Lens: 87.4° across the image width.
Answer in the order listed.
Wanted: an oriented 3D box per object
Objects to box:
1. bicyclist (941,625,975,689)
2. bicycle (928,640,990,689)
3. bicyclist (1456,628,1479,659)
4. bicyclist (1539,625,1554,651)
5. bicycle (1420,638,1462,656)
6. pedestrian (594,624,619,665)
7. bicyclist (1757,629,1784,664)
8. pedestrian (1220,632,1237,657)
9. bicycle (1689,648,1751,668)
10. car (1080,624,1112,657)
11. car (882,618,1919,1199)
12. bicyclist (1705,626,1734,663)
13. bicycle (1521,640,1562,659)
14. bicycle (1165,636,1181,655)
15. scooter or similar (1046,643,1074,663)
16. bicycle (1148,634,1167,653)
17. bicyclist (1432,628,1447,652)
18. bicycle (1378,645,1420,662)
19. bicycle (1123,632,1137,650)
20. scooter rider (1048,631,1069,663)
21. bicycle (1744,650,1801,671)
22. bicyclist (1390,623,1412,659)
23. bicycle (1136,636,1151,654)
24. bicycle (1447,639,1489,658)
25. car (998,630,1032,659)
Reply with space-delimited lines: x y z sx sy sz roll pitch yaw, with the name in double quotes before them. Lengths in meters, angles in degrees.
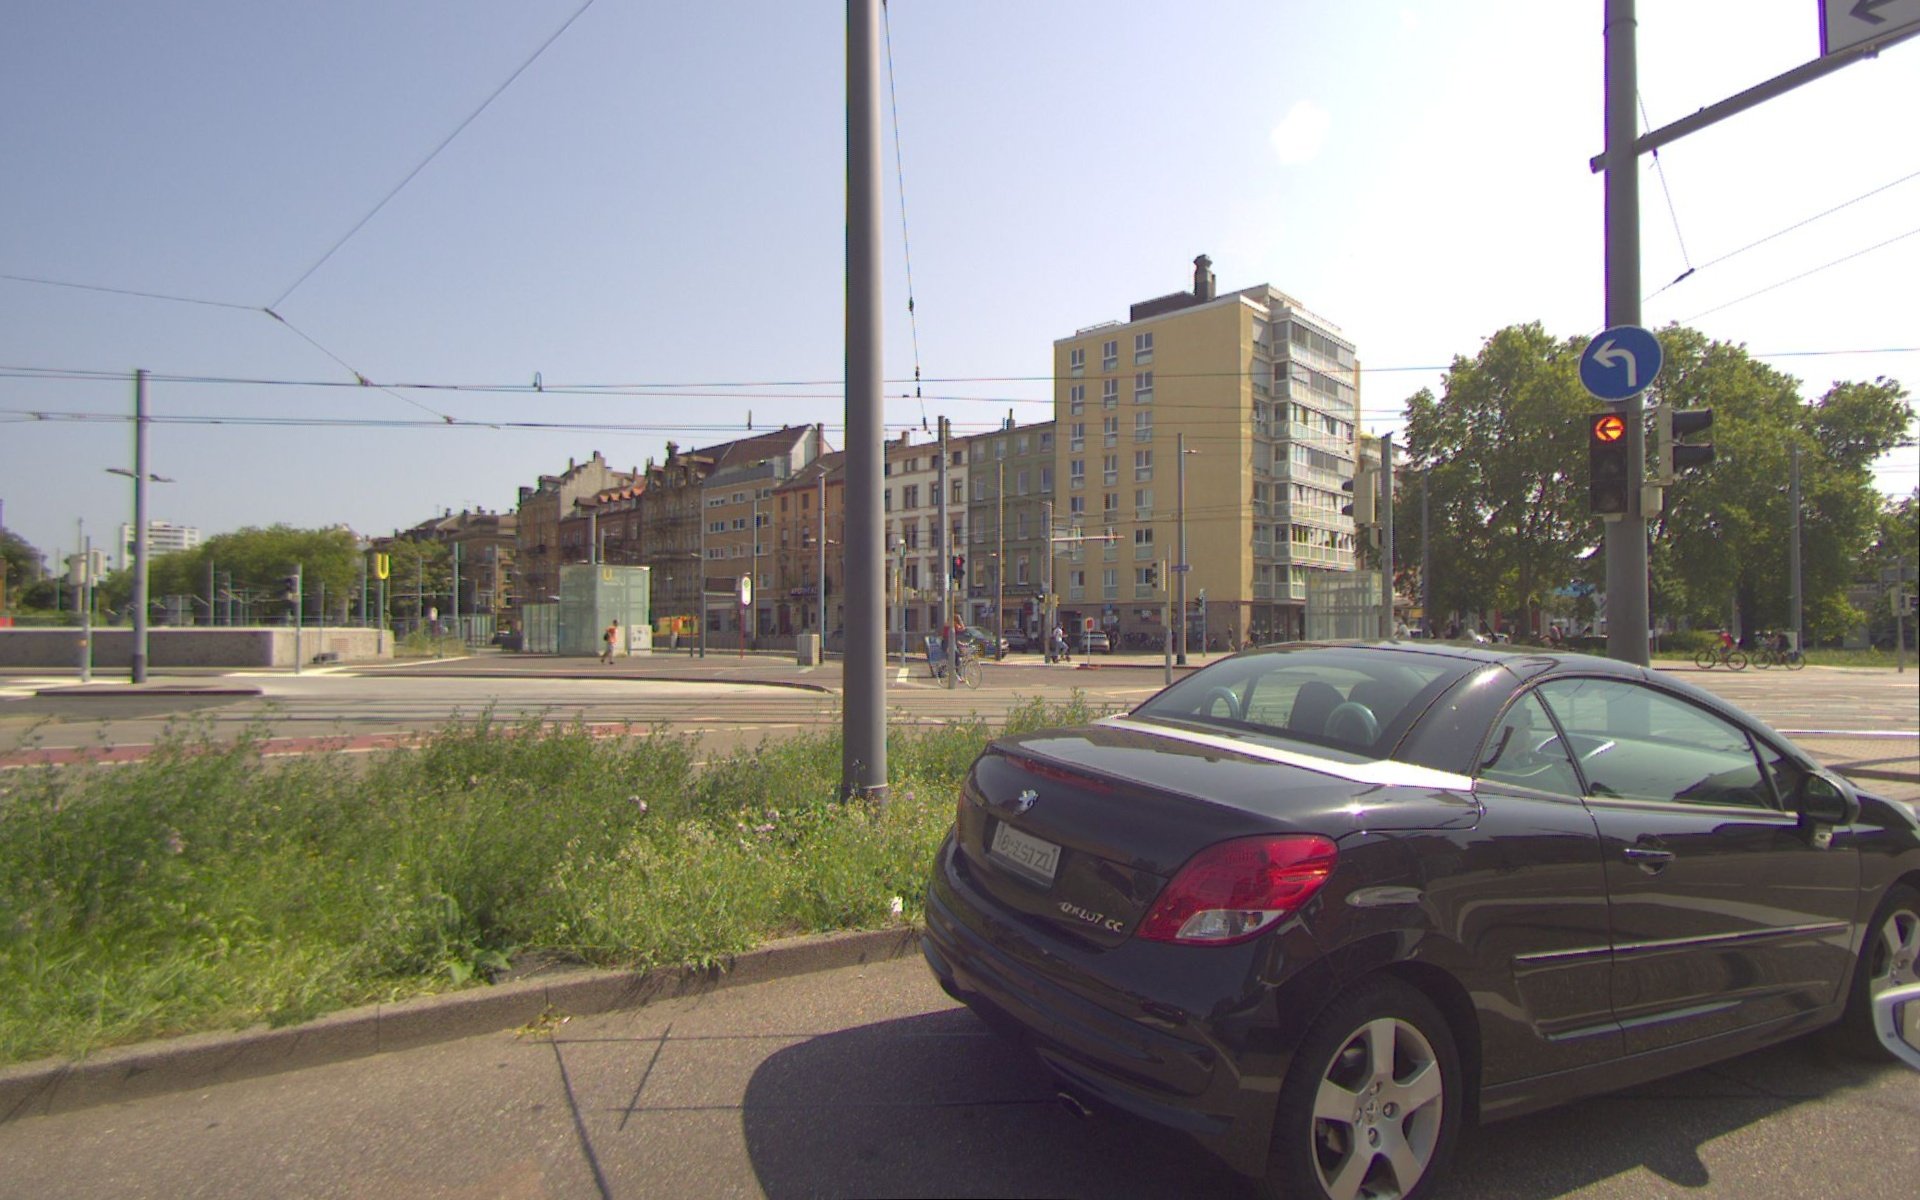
"bicyclist" -0.044 1.381 24.470 0.632 1.529 0.553 1 -2 -36
"bicycle" -0.042 1.536 24.349 0.499 1.108 1.918 1 -2 -35
"bicyclist" 25.865 2.210 51.182 0.900 1.528 0.555 -1 -2 45
"bicyclist" 29.728 1.912 50.918 0.555 1.310 0.539 2 -2 -41
"bicycle" 25.985 2.526 54.301 0.464 0.954 2.014 2 -2 -41
"pedestrian" -13.821 1.728 39.270 0.847 1.563 0.739 1 -2 -25
"bicyclist" 34.484 1.963 42.732 0.861 1.495 0.543 -1 -2 43
"pedestrian" 17.305 2.861 64.706 0.845 1.563 0.741 -1 -2 37
"bicycle" 31.847 2.417 42.114 0.476 0.813 2.030 2 -2 -41
"car" 8.448 2.481 61.999 1.767 1.951 4.003 0 -2 10
"car" 1.782 0.805 3.609 3.731 1.406 1.760 1 0 -26
"bicyclist" 31.842 1.859 42.120 0.494 1.502 0.863 2 -2 -43
"bicycle" 29.615 2.521 51.160 0.413 0.954 1.798 2 -2 -41
"bicycle" 14.160 3.029 66.833 0.680 1.220 3.265 0 -2 5
"scooter or similar" 4.411 2.328 44.283 1.132 0.835 0.517 1 -2 -35
"bicycle" 13.295 2.916 67.624 0.892 1.220 3.265 0 -2 5
"bicyclist" 25.930 2.172 54.297 0.555 1.310 0.539 2 -2 -41
"bicycle" 22.831 2.768 52.273 0.476 0.813 2.030 2 -2 -41
"bicycle" 11.729 2.831 69.353 0.680 1.220 2.793 0 -2 5
"scooter rider" 4.349 2.078 44.374 0.602 1.371 0.682 1 -2 -35
"bicycle" 34.517 2.561 42.671 1.836 0.813 0.604 -1 -2 43
"bicyclist" 22.900 2.116 52.187 0.494 1.831 0.915 2 -2 -41
"bicycle" 12.521 3.058 68.541 0.680 1.220 3.265 0 -2 5
"bicycle" 25.873 2.468 51.186 1.795 0.954 0.564 -1 -2 44
"car" 3.668 2.931 66.599 1.767 1.843 4.003 0 -2 10
